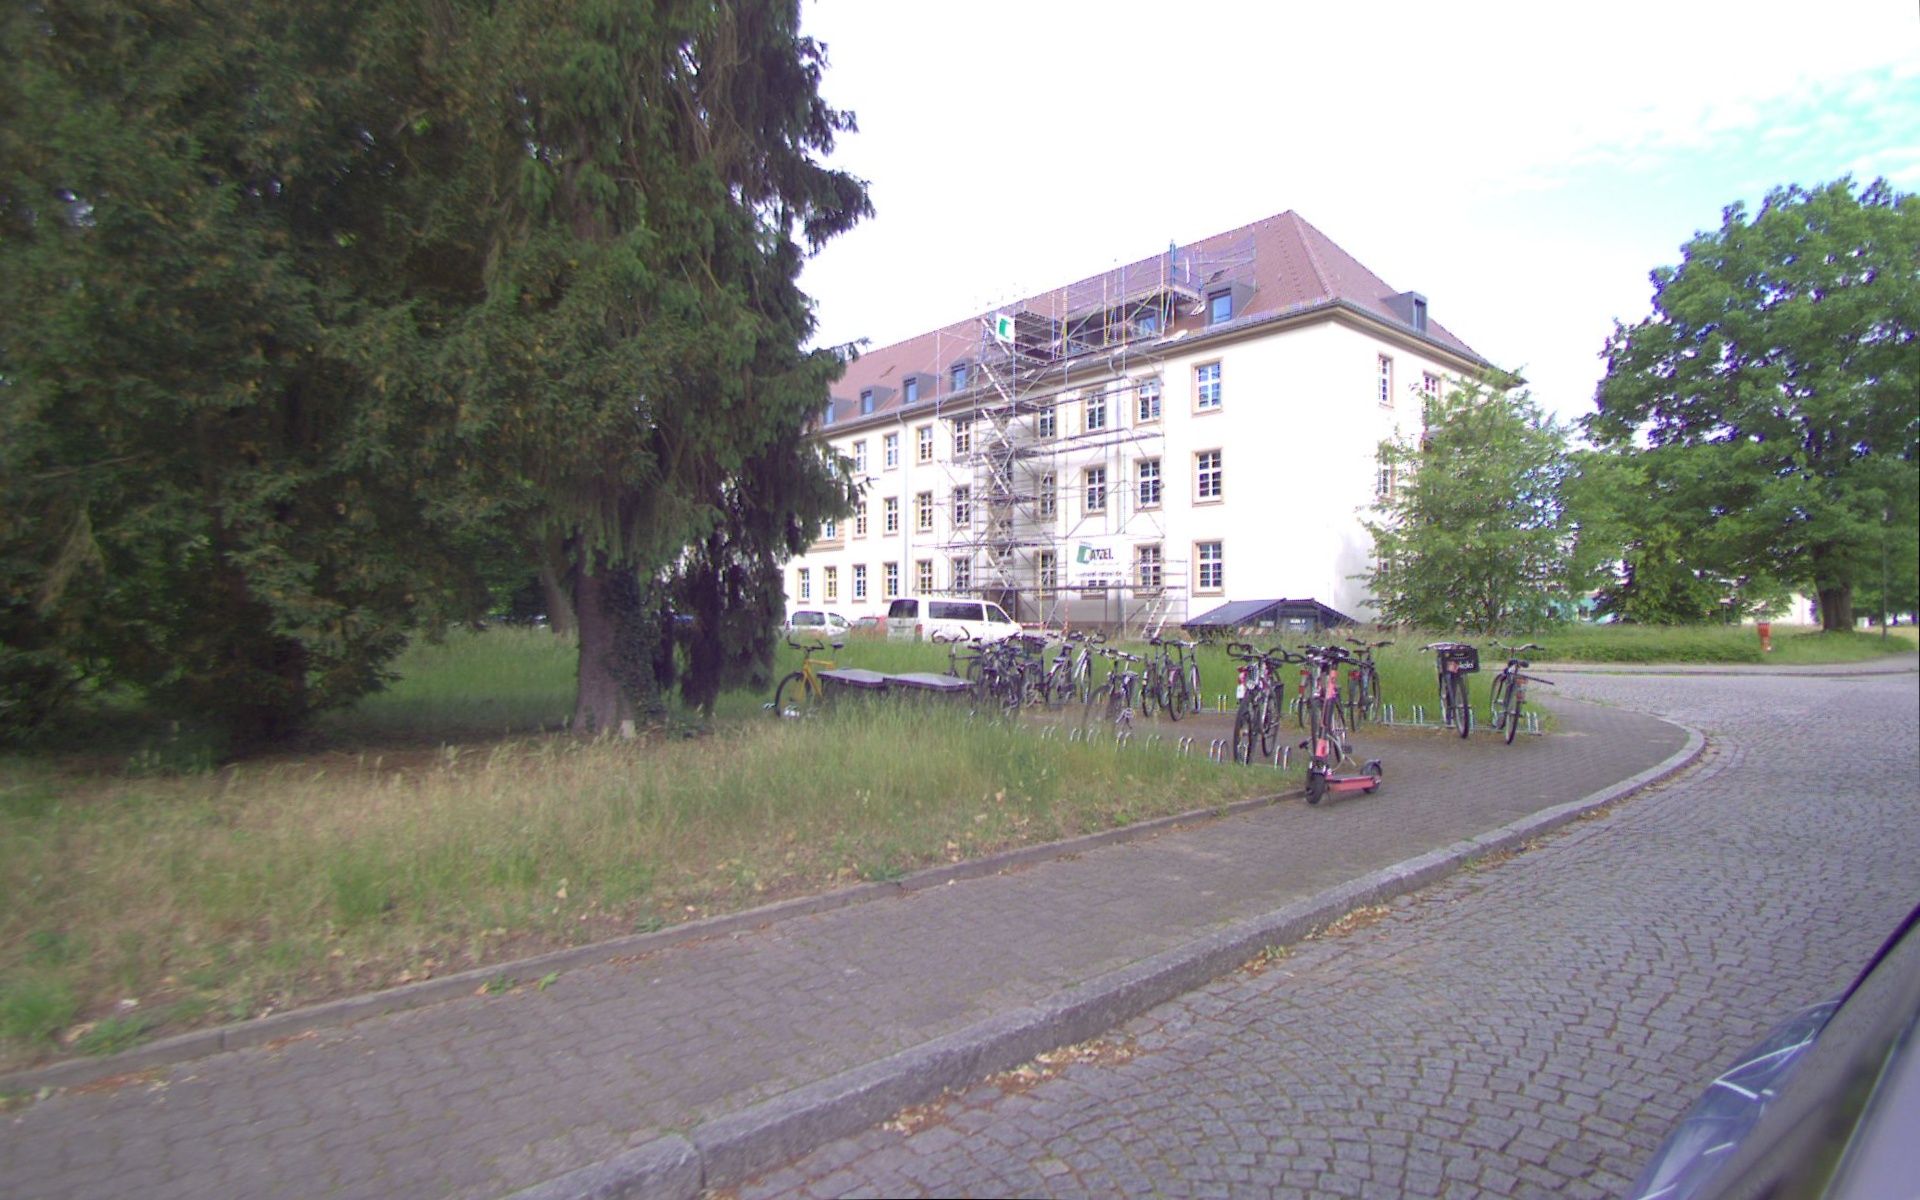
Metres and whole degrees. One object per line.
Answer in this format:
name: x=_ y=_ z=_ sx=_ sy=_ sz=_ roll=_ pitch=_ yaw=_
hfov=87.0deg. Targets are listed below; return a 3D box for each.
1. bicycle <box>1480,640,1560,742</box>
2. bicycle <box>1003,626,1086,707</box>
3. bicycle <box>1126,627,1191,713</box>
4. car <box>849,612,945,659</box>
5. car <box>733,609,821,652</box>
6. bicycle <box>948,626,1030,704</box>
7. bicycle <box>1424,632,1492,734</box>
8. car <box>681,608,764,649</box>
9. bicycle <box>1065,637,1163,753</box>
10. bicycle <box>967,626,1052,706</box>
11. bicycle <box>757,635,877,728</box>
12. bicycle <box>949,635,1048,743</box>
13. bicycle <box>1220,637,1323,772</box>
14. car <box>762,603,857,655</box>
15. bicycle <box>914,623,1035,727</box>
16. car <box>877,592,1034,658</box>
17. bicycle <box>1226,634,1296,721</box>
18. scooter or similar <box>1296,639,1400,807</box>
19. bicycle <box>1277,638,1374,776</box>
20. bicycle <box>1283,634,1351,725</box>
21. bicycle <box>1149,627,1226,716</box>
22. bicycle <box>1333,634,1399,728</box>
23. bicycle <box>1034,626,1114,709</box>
bicycle: x=6.510 y=1.021 z=11.820 sx=0.471 sy=1.020 sz=1.614 roll=-1 pitch=0 yaw=17
bicycle: x=1.288 y=0.964 z=15.175 sx=0.440 sy=1.126 sz=1.629 roll=-1 pitch=-1 yaw=38
bicycle: x=2.840 y=0.952 z=14.373 sx=0.473 sy=1.126 sz=1.749 roll=-1 pitch=-1 yaw=26
car: x=-2.123 y=1.176 z=34.696 sx=3.193 sy=1.546 sz=1.309 roll=0 pitch=-1 yaw=-42
car: x=-7.167 y=1.166 z=39.809 sx=3.193 sy=1.585 sz=1.328 roll=0 pitch=-1 yaw=-42
bicycle: x=0.485 y=0.992 z=15.919 sx=0.474 sy=1.126 sz=1.745 roll=-1 pitch=-1 yaw=32
bicycle: x=6.064 y=0.976 z=12.373 sx=0.471 sy=1.087 sz=1.614 roll=-1 pitch=0 yaw=17
car: x=-10.205 y=1.214 z=43.625 sx=3.193 sy=1.682 sz=1.437 roll=0 pitch=-1 yaw=-42
bicycle: x=1.667 y=0.954 z=10.756 sx=0.611 sy=1.079 sz=1.811 roll=-1 pitch=-1 yaw=22
bicycle: x=0.771 y=0.969 z=15.370 sx=0.440 sy=1.126 sz=1.629 roll=-1 pitch=-1 yaw=38
bicycle: x=-1.778 y=0.995 z=12.798 sx=0.547 sy=1.055 sz=1.662 roll=-1 pitch=-1 yaw=34
bicycle: x=0.467 y=0.955 z=11.415 sx=0.545 sy=1.079 sz=1.740 roll=-1 pitch=-1 yaw=22
bicycle: x=3.036 y=0.945 z=9.766 sx=0.547 sy=1.129 sz=1.785 roll=-1 pitch=-1 yaw=30
car: x=-5.660 y=1.064 z=38.153 sx=3.193 sy=1.867 sz=1.601 roll=0 pitch=-1 yaw=-42
bicycle: x=0.214 y=0.894 z=12.649 sx=0.549 sy=1.186 sz=1.728 roll=-1 pitch=-1 yaw=40
car: x=-0.082 y=0.787 z=33.272 sx=5.186 sy=2.022 sz=1.964 roll=0 pitch=-1 yaw=-42
bicycle: x=4.065 y=1.002 z=13.605 sx=0.474 sy=1.020 sz=1.649 roll=-1 pitch=0 yaw=32
scooter or similar: x=3.127 y=0.940 z=8.119 sx=0.356 sy=1.225 sz=1.119 roll=-2 pitch=-2 yaw=44
bicycle: x=3.482 y=0.949 z=9.560 sx=0.547 sy=1.129 sz=1.750 roll=-1 pitch=-1 yaw=30
bicycle: x=4.632 y=0.988 z=13.078 sx=0.474 sy=1.020 sz=1.649 roll=-1 pitch=0 yaw=32
bicycle: x=3.159 y=0.941 z=13.942 sx=0.474 sy=1.126 sz=1.745 roll=-1 pitch=-1 yaw=32
bicycle: x=5.113 y=0.978 z=12.688 sx=0.474 sy=1.020 sz=1.649 roll=-1 pitch=0 yaw=32
bicycle: x=1.716 y=0.969 z=15.029 sx=0.474 sy=1.126 sz=1.745 roll=-1 pitch=-1 yaw=32
